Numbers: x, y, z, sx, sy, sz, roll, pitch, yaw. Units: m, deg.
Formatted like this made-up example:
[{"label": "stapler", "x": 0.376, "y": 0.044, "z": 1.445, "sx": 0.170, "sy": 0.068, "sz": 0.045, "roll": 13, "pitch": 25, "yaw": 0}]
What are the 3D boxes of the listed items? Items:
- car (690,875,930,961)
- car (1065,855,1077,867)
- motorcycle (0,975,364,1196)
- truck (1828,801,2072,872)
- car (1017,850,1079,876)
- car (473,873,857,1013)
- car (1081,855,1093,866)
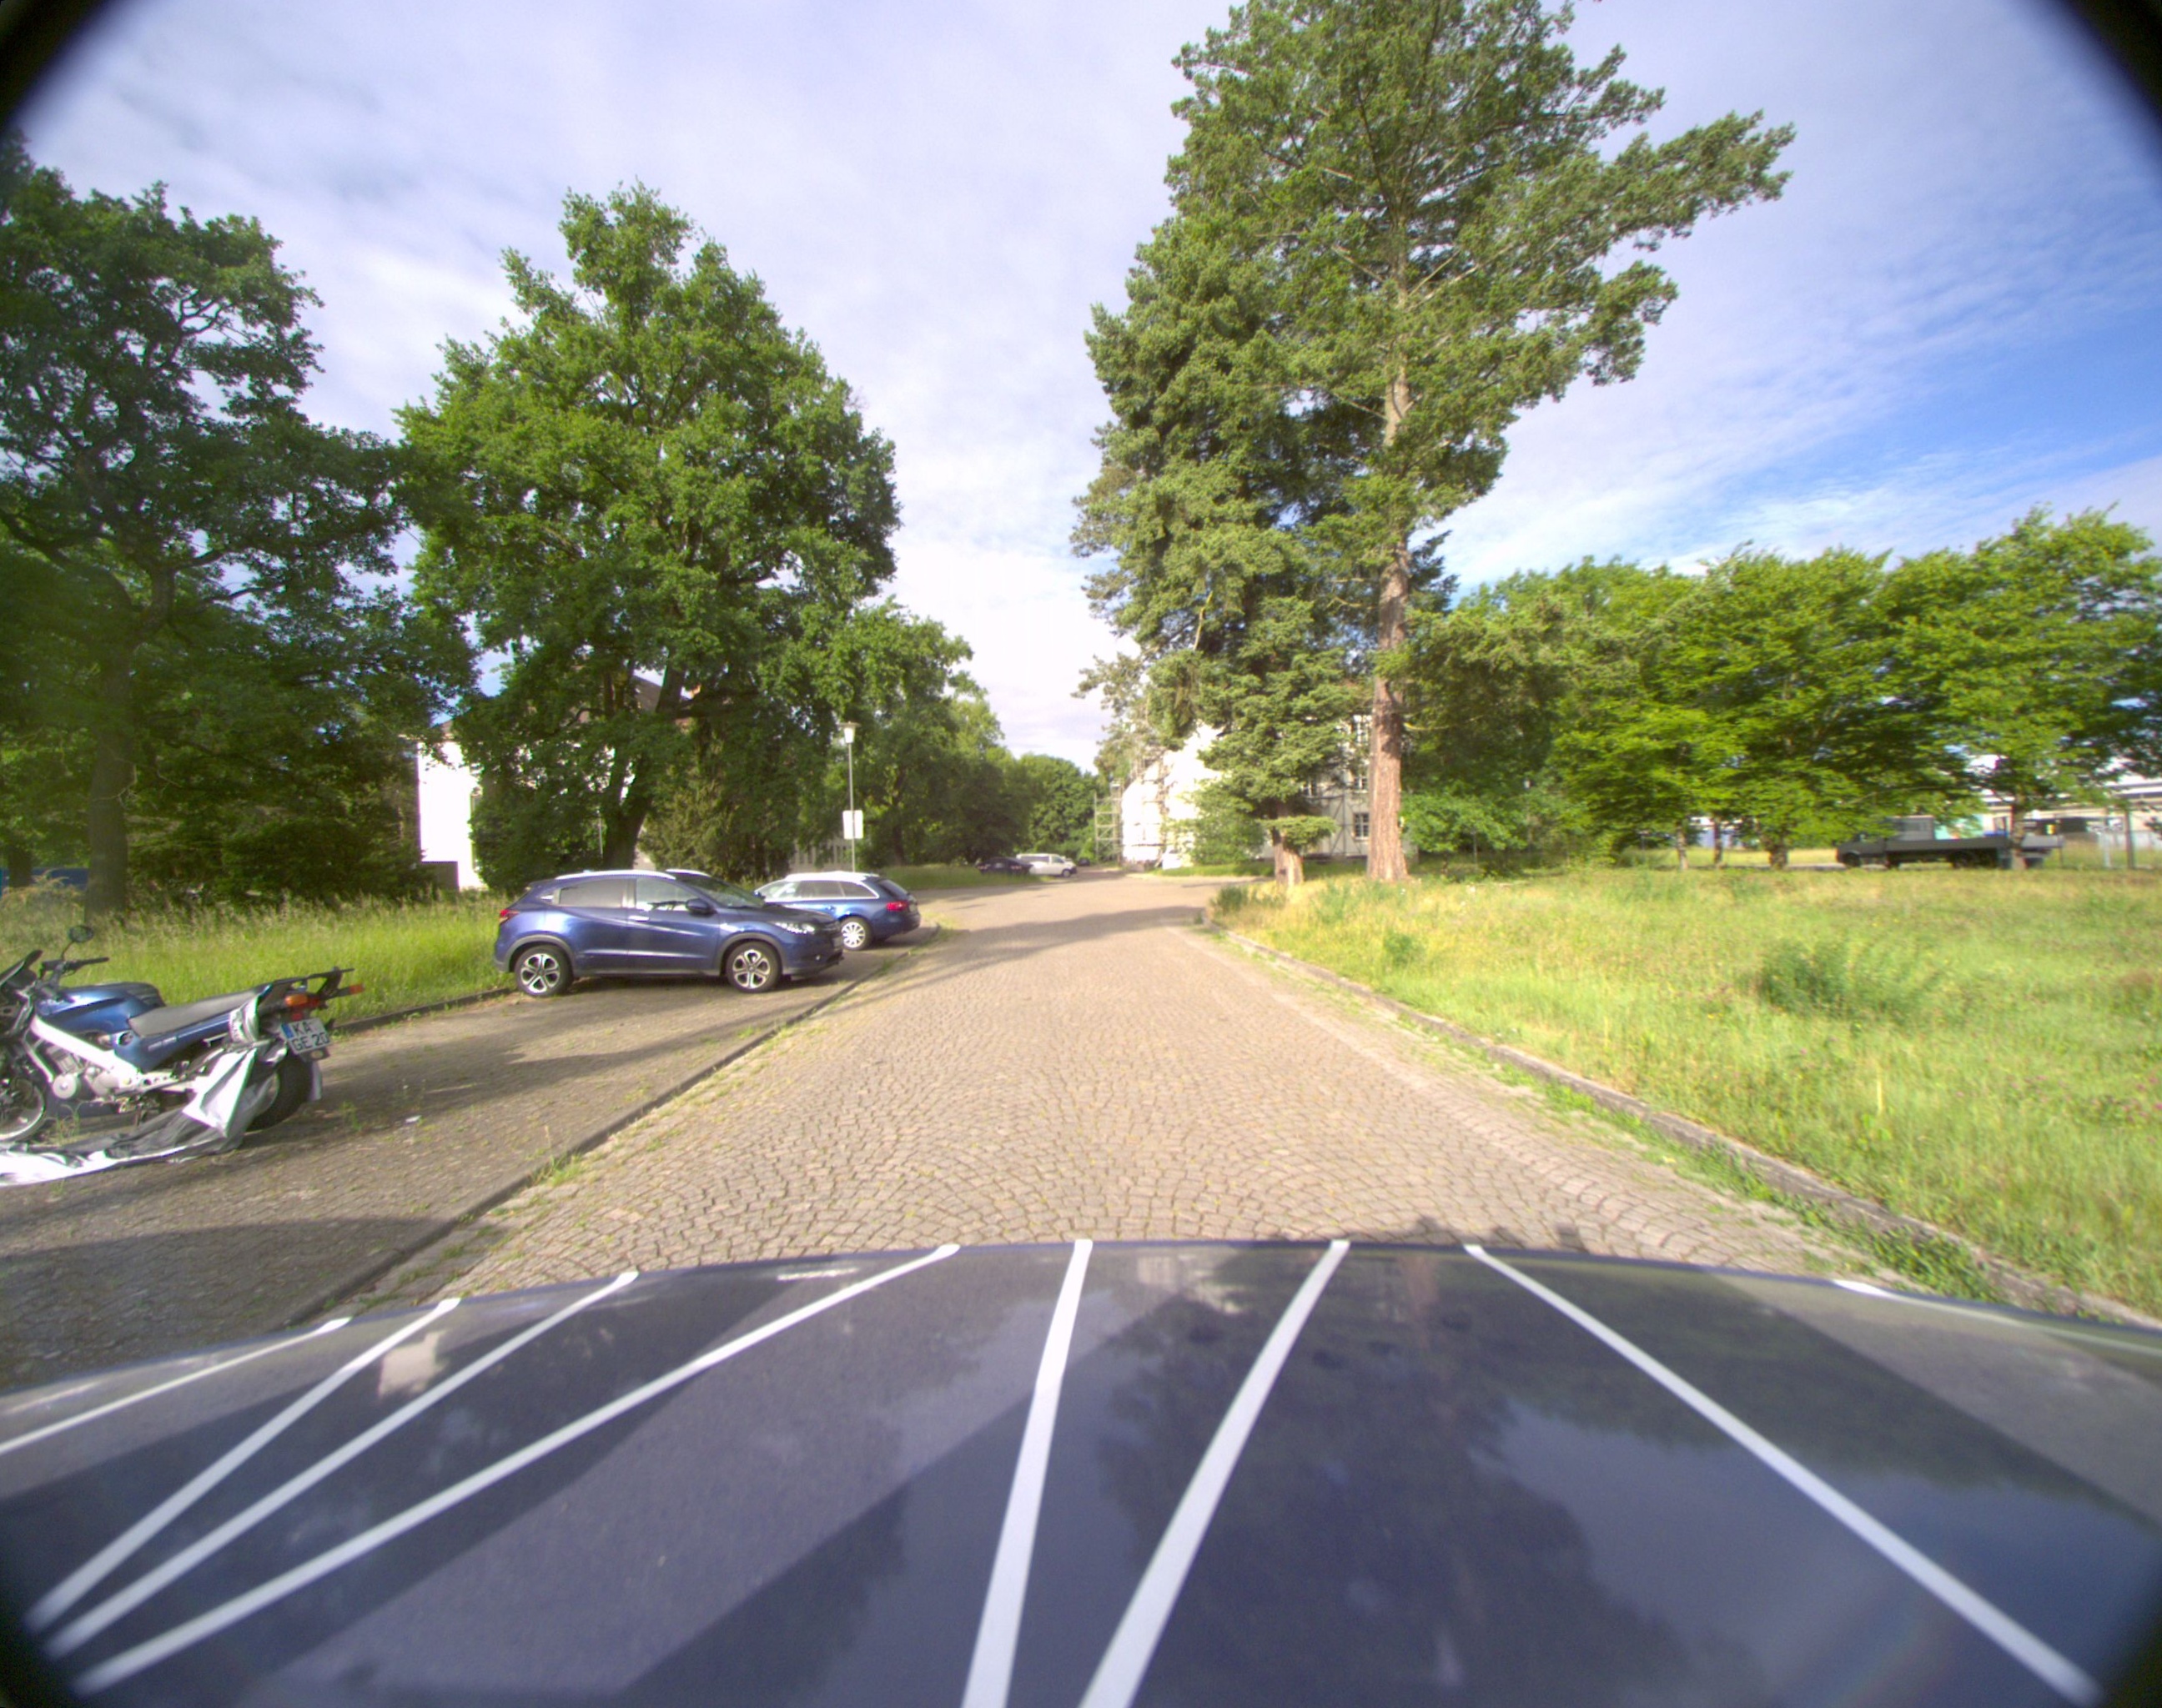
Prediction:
[{"label": "car", "x": -5.191, "y": 1.205, "z": 14.948, "sx": 4.036, "sy": 1.442, "sz": 1.783, "roll": -1, "pitch": 1, "yaw": 1}, {"label": "car", "x": -1.705, "y": 1.144, "z": 130.121, "sx": 1.875, "sy": 1.888, "sz": 3.999, "roll": -2, "pitch": 1, "yaw": -1}, {"label": "motorcycle", "x": -5.708, "y": 1.336, "z": 4.501, "sx": 2.307, "sy": 1.107, "sz": 0.607, "roll": -1, "pitch": 1, "yaw": 0}, {"label": "truck", "x": 36.255, "y": -0.653, "z": 32.183, "sx": 2.417, "sy": 2.572, "sz": 6.958, "roll": -2, "pitch": 0, "yaw": 1}, {"label": "car", "x": -2.748, "y": 0.755, "z": 63.978, "sx": 5.079, "sy": 2.029, "sz": 2.000, "roll": -2, "pitch": 0, "yaw": -2}, {"label": "car", "x": -5.366, "y": 1.109, "z": 10.243, "sx": 4.136, "sy": 1.560, "sz": 1.746, "roll": -1, "pitch": 1, "yaw": -2}, {"label": "car", "x": 1.018, "y": 1.105, "z": 130.418, "sx": 1.999, "sy": 1.762, "sz": 4.108, "roll": -2, "pitch": 1, "yaw": -1}]
